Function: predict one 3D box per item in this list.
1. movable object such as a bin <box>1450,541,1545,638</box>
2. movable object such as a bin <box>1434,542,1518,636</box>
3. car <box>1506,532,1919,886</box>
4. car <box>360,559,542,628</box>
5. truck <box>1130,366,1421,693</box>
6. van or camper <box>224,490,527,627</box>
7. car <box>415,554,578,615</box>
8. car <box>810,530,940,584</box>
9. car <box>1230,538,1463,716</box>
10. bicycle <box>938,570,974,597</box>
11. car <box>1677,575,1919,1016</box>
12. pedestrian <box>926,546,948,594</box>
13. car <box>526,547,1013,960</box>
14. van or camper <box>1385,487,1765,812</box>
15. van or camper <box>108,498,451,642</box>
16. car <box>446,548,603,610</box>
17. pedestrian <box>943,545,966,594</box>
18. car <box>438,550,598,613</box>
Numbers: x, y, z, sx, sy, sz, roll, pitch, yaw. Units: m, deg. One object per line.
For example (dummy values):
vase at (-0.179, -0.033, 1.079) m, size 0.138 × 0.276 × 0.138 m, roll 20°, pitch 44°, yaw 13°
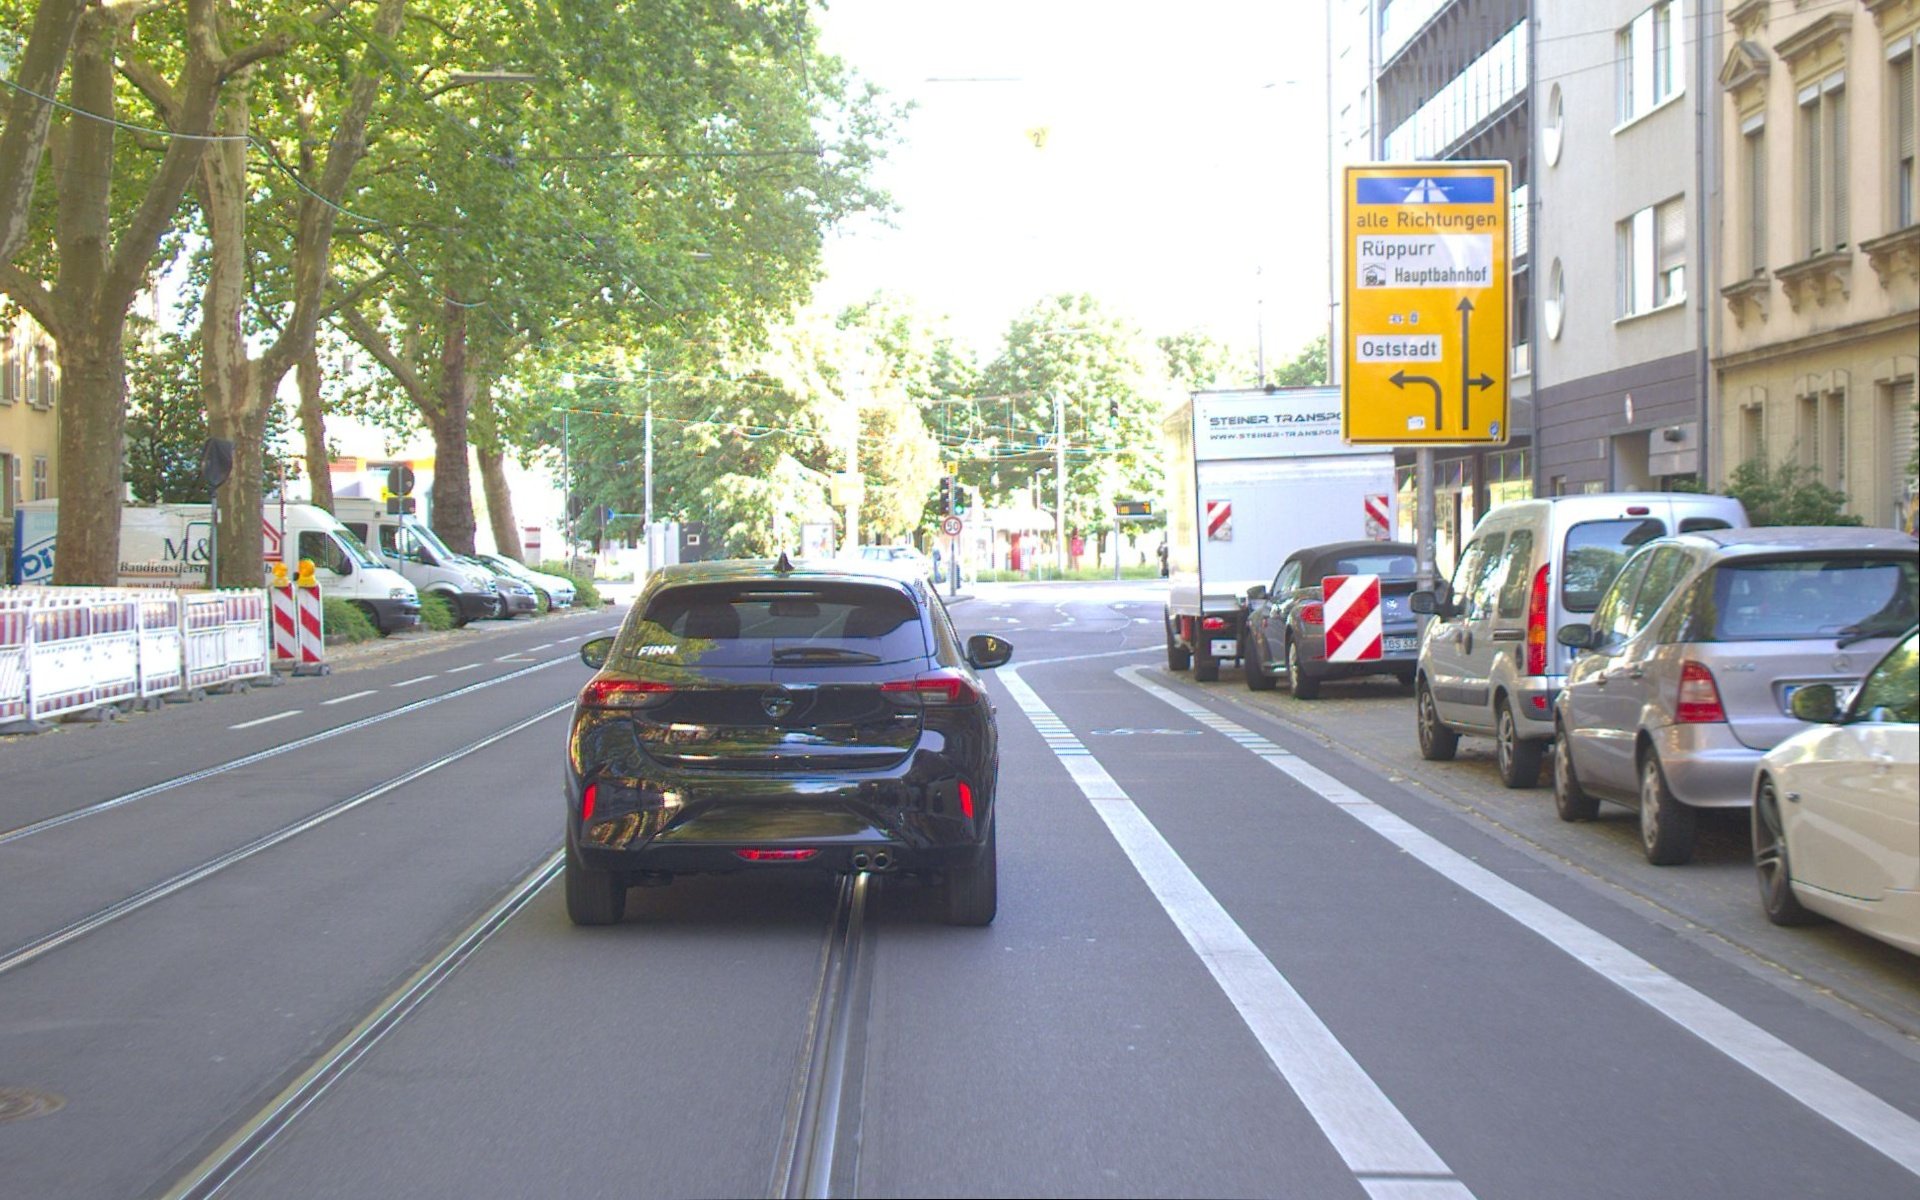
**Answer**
movable object such as a bin at (8.494, -0.166, 54.399) m, size 1.186 × 1.479 × 1.595 m, roll -2°, pitch 0°, yaw 0°
movable object such as a bin at (8.424, -0.185, 56.156) m, size 1.110 × 1.479 × 1.388 m, roll -2°, pitch 0°, yaw 0°
car at (3.898, 0.460, 17.403) m, size 1.660 × 1.575 × 3.589 m, roll -1°, pitch 1°, yaw 0°
car at (-11.887, -0.155, 80.404) m, size 3.987 × 1.510 × 1.650 m, roll 1°, pitch 0°, yaw 1°
truck at (3.482, -0.784, 39.611) m, size 2.538 × 3.326 × 7.195 m, roll -2°, pitch 1°, yaw 0°
van or camper at (-11.833, -0.847, 69.878) m, size 5.723 × 2.635 × 2.269 m, roll 1°, pitch 0°, yaw 0°
car at (-12.035, -0.404, 89.462) m, size 3.987 × 1.510 × 1.650 m, roll 1°, pitch 0°, yaw 1°
car at (-2.853, -1.428, 114.329) m, size 1.994 × 1.690 × 4.739 m, roll -3°, pitch 1°, yaw -34°
car at (3.699, 0.221, 33.538) m, size 1.731 × 1.552 × 4.152 m, roll -3°, pitch 1°, yaw 0°
bicycle at (-0.143, -0.609, 129.978) m, size 0.789 × 0.988 × 2.241 m, roll 1°, pitch 1°, yaw 16°
car at (3.984, 0.641, 12.472) m, size 1.659 × 1.394 × 4.740 m, roll -2°, pitch 1°, yaw -1°
pedestrian at (-0.917, -1.171, 134.968) m, size 0.617 × 1.847 × 0.583 m, roll 1°, pitch 0°, yaw 28°
car at (-0.739, 0.537, 14.704) m, size 1.781 × 1.491 × 4.000 m, roll 1°, pitch 1°, yaw -1°
van or camper at (3.871, 0.250, 22.281) m, size 1.669 × 1.876 × 4.211 m, roll -1°, pitch 1°, yaw 0°
van or camper at (-11.943, -0.528, 60.561) m, size 5.502 × 2.371 × 2.269 m, roll 1°, pitch 0°, yaw 3°
car at (-12.011, -0.587, 94.965) m, size 4.167 × 1.665 × 1.965 m, roll 0°, pitch 1°, yaw -3°
pedestrian at (-0.213, -1.210, 135.469) m, size 0.658 × 1.926 × 0.608 m, roll 1°, pitch 0°, yaw 31°
car at (-11.872, -0.513, 92.557) m, size 4.167 × 1.665 × 1.965 m, roll 0°, pitch 1°, yaw -3°
